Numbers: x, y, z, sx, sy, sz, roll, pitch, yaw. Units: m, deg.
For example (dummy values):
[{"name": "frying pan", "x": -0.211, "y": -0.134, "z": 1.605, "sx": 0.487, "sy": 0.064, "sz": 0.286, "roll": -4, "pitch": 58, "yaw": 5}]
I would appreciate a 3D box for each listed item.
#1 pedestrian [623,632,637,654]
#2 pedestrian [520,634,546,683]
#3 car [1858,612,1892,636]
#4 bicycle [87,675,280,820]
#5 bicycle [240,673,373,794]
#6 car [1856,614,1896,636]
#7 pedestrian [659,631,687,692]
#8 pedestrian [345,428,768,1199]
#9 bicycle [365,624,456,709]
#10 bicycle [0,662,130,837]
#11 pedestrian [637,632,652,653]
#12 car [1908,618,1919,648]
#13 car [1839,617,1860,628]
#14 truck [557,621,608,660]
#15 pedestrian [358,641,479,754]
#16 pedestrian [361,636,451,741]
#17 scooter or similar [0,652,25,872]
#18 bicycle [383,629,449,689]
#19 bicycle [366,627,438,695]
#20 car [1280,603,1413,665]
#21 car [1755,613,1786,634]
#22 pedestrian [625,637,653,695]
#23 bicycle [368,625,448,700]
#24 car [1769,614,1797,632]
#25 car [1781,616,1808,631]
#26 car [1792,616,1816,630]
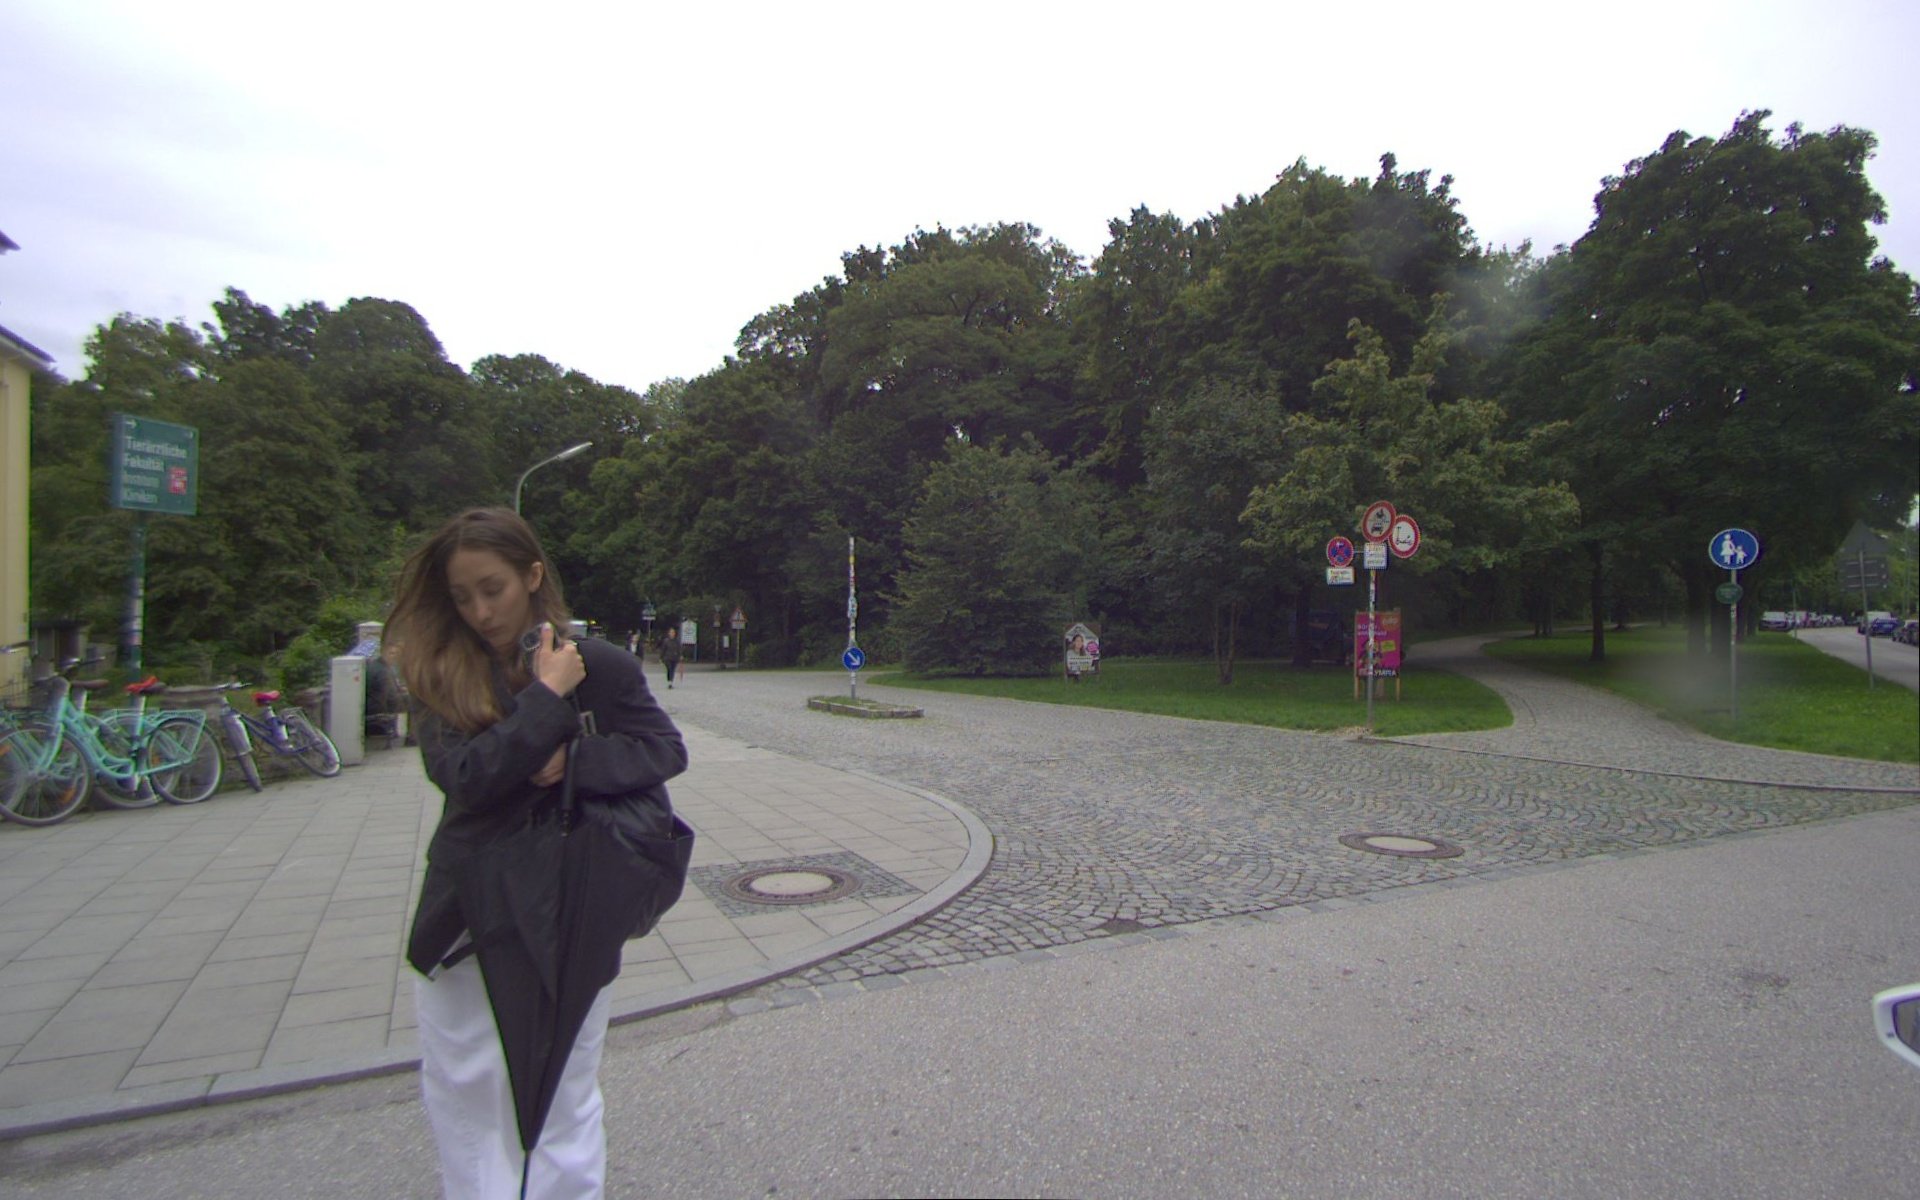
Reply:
[{"name": "pedestrian", "x": -25.757, "y": 3.368, "z": 78.359, "sx": 0.865, "sy": 1.674, "sz": 0.733, "roll": 0, "pitch": -1, "yaw": -3}, {"name": "pedestrian", "x": -15.576, "y": 2.119, "z": 36.605, "sx": 0.741, "sy": 1.728, "sz": 1.103, "roll": 1, "pitch": 0, "yaw": -30}, {"name": "car", "x": 78.545, "y": 2.038, "z": 86.276, "sx": 2.042, "sy": 1.992, "sz": 4.951, "roll": 0, "pitch": -1, "yaw": 41}, {"name": "bicycle", "x": -6.144, "y": 1.130, "z": 8.023, "sx": 0.406, "sy": 0.990, "sz": 1.277, "roll": 0, "pitch": -1, "yaw": 10}, {"name": "bicycle", "x": -6.059, "y": 1.208, "z": 9.375, "sx": 0.406, "sy": 0.990, "sz": 1.276, "roll": 0, "pitch": -1, "yaw": -1}, {"name": "car", "x": 72.242, "y": 1.946, "z": 79.251, "sx": 1.968, "sy": 1.622, "sz": 4.237, "roll": 0, "pitch": -1, "yaw": 37}, {"name": "pedestrian", "x": -8.249, "y": 1.746, "z": 28.863, "sx": 0.651, "sy": 1.720, "sz": 0.747, "roll": 1, "pitch": 0, "yaw": -25}, {"name": "pedestrian", "x": -0.810, "y": 0.595, "z": 2.024, "sx": 0.661, "sy": 1.719, "sz": 0.538, "roll": 1, "pitch": -2, "yaw": -39}, {"name": "bicycle", "x": -12.133, "y": 1.408, "z": 22.128, "sx": 1.045, "sy": 1.684, "sz": 3.113, "roll": 1, "pitch": -1, "yaw": -42}, {"name": "bicycle", "x": -6.433, "y": 1.010, "z": 6.867, "sx": 0.295, "sy": 1.126, "sz": 1.192, "roll": 1, "pitch": -1, "yaw": 14}, {"name": "pedestrian", "x": -25.043, "y": 3.388, "z": 79.692, "sx": 0.876, "sy": 1.674, "sz": 0.723, "roll": 1, "pitch": -1, "yaw": -44}, {"name": "car", "x": 56.122, "y": 1.905, "z": 57.841, "sx": 1.770, "sy": 1.702, "sz": 3.984, "roll": 0, "pitch": -1, "yaw": 37}, {"name": "car", "x": 130.537, "y": 3.262, "z": 147.373, "sx": 4.436, "sy": 1.622, "sz": 1.975, "roll": 1, "pitch": -1, "yaw": -43}, {"name": "truck", "x": -25.802, "y": 2.739, "z": 68.900, "sx": 2.357, "sy": 2.494, "sz": 5.483, "roll": 1, "pitch": -1, "yaw": -11}, {"name": "pedestrian", "x": -6.730, "y": 1.175, "z": 12.492, "sx": 1.253, "sy": 1.285, "sz": 0.843, "roll": 1, "pitch": 0, "yaw": -33}, {"name": "pedestrian", "x": -7.676, "y": 1.193, "z": 13.907, "sx": 1.022, "sy": 1.353, "sz": 0.947, "roll": 1, "pitch": 0, "yaw": -33}, {"name": "scooter or similar", "x": -5.888, "y": 0.888, "z": 5.543, "sx": 1.032, "sy": 1.228, "sz": 0.440, "roll": 2, "pitch": -1, "yaw": 5}, {"name": "bicycle", "x": -16.473, "y": 1.738, "z": 30.382, "sx": 1.045, "sy": 1.684, "sz": 3.113, "roll": 1, "pitch": -1, "yaw": -42}, {"name": "bicycle", "x": -15.192, "y": 1.609, "z": 27.277, "sx": 1.045, "sy": 1.684, "sz": 3.113, "roll": 1, "pitch": -1, "yaw": -42}, {"name": "car", "x": 13.204, "y": 1.141, "z": 34.457, "sx": 3.919, "sy": 2.040, "sz": 1.789, "roll": 0, "pitch": -1, "yaw": 4}, {"name": "car", "x": 67.577, "y": 1.945, "z": 83.772, "sx": 1.969, "sy": 1.622, "sz": 4.448, "roll": 0, "pitch": -1, "yaw": 38}, {"name": "pedestrian", "x": -9.039, "y": 1.846, "z": 28.300, "sx": 0.682, "sy": 1.602, "sz": 0.747, "roll": 1, "pitch": 0, "yaw": -23}, {"name": "bicycle", "x": -13.577, "y": 1.474, "z": 24.656, "sx": 1.045, "sy": 1.684, "sz": 2.966, "roll": 1, "pitch": -1, "yaw": -42}, {"name": "car", "x": 78.607, "y": 2.178, "z": 95.948, "sx": 1.969, "sy": 1.622, "sz": 4.448, "roll": 0, "pitch": -1, "yaw": 38}, {"name": "car", "x": 88.453, "y": 2.481, "z": 106.494, "sx": 1.972, "sy": 1.622, "sz": 4.442, "roll": 0, "pitch": -1, "yaw": 43}, {"name": "car", "x": 98.612, "y": 2.678, "z": 117.287, "sx": 1.972, "sy": 1.622, "sz": 4.442, "roll": 0, "pitch": -1, "yaw": 43}]
